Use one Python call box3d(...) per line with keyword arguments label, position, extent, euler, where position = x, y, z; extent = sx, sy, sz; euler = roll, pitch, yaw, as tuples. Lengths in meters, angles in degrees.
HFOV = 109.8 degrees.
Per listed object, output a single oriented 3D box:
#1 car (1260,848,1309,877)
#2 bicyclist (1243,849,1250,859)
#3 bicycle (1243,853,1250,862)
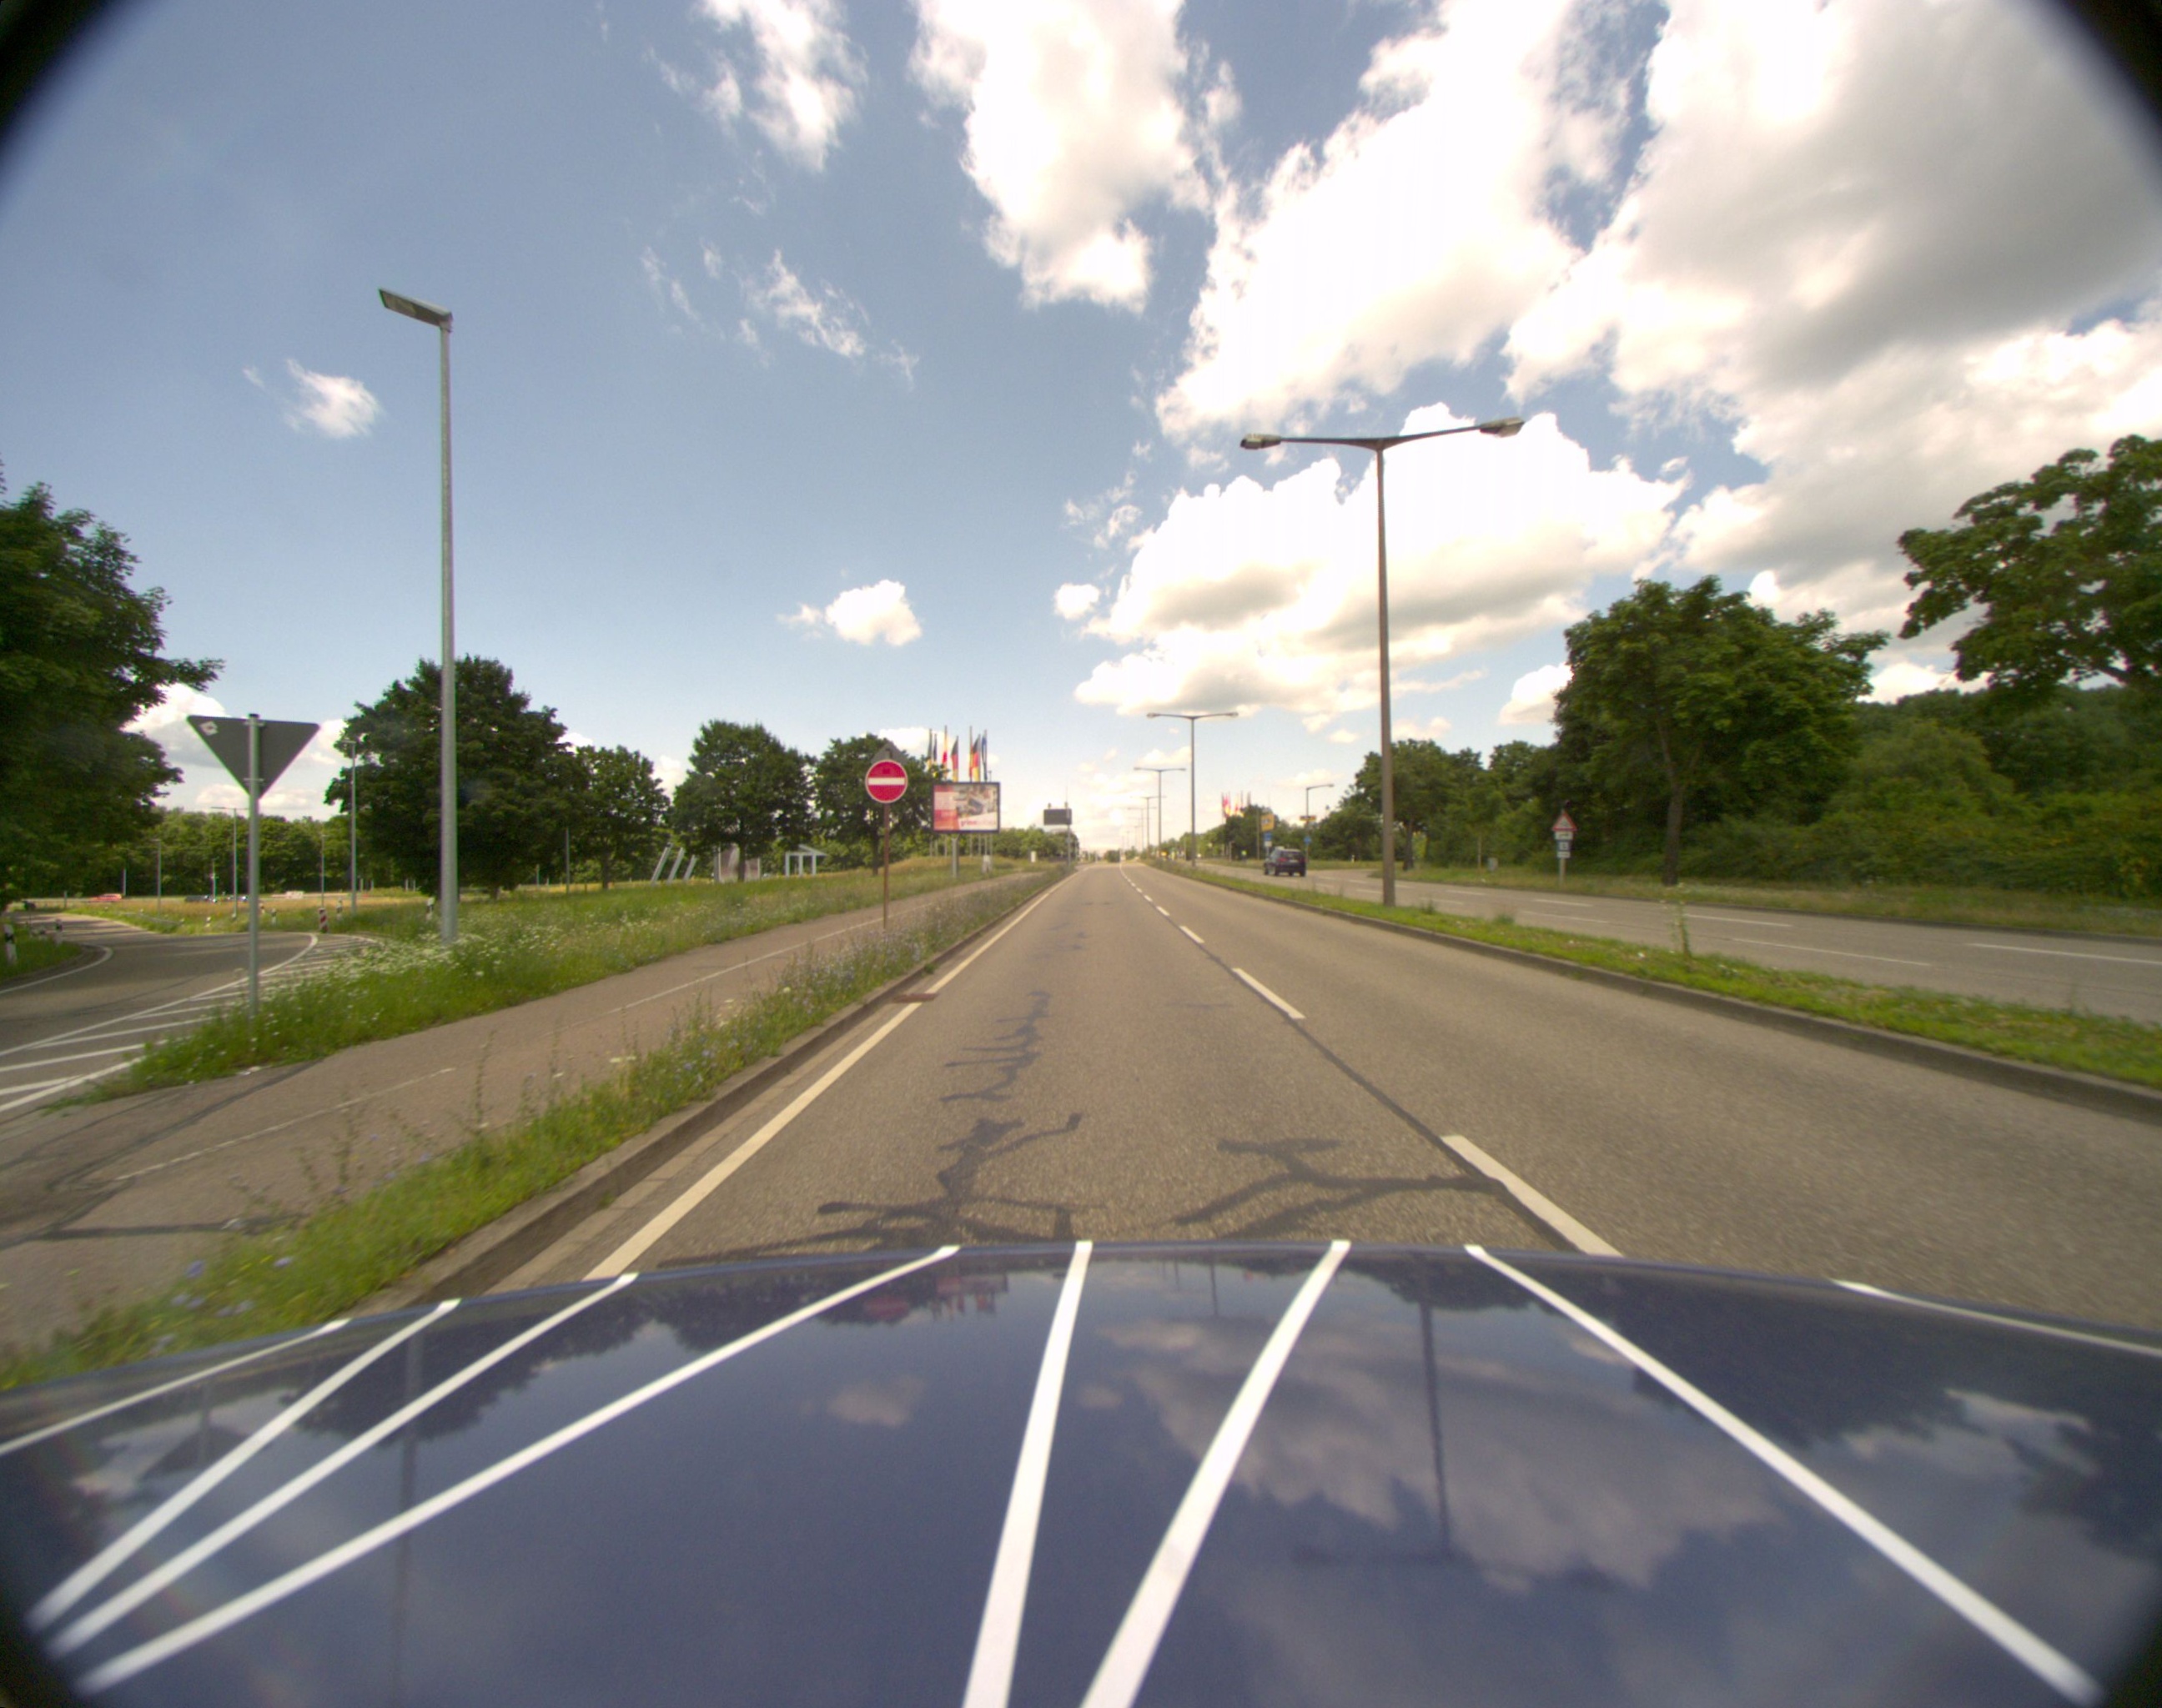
box3d(label="car", position=(13.235, 0.506, 49.731), extent=(1.881, 1.780, 4.728), euler=(1, 0, 0))
box3d(label="bicyclist", position=(20.536, 0.012, 94.425), extent=(0.522, 1.264, 1.107), euler=(-2, -1, -1))
box3d(label="bicycle", position=(20.569, 0.496, 94.485), extent=(0.433, 1.062, 1.908), euler=(-2, -1, -1))
